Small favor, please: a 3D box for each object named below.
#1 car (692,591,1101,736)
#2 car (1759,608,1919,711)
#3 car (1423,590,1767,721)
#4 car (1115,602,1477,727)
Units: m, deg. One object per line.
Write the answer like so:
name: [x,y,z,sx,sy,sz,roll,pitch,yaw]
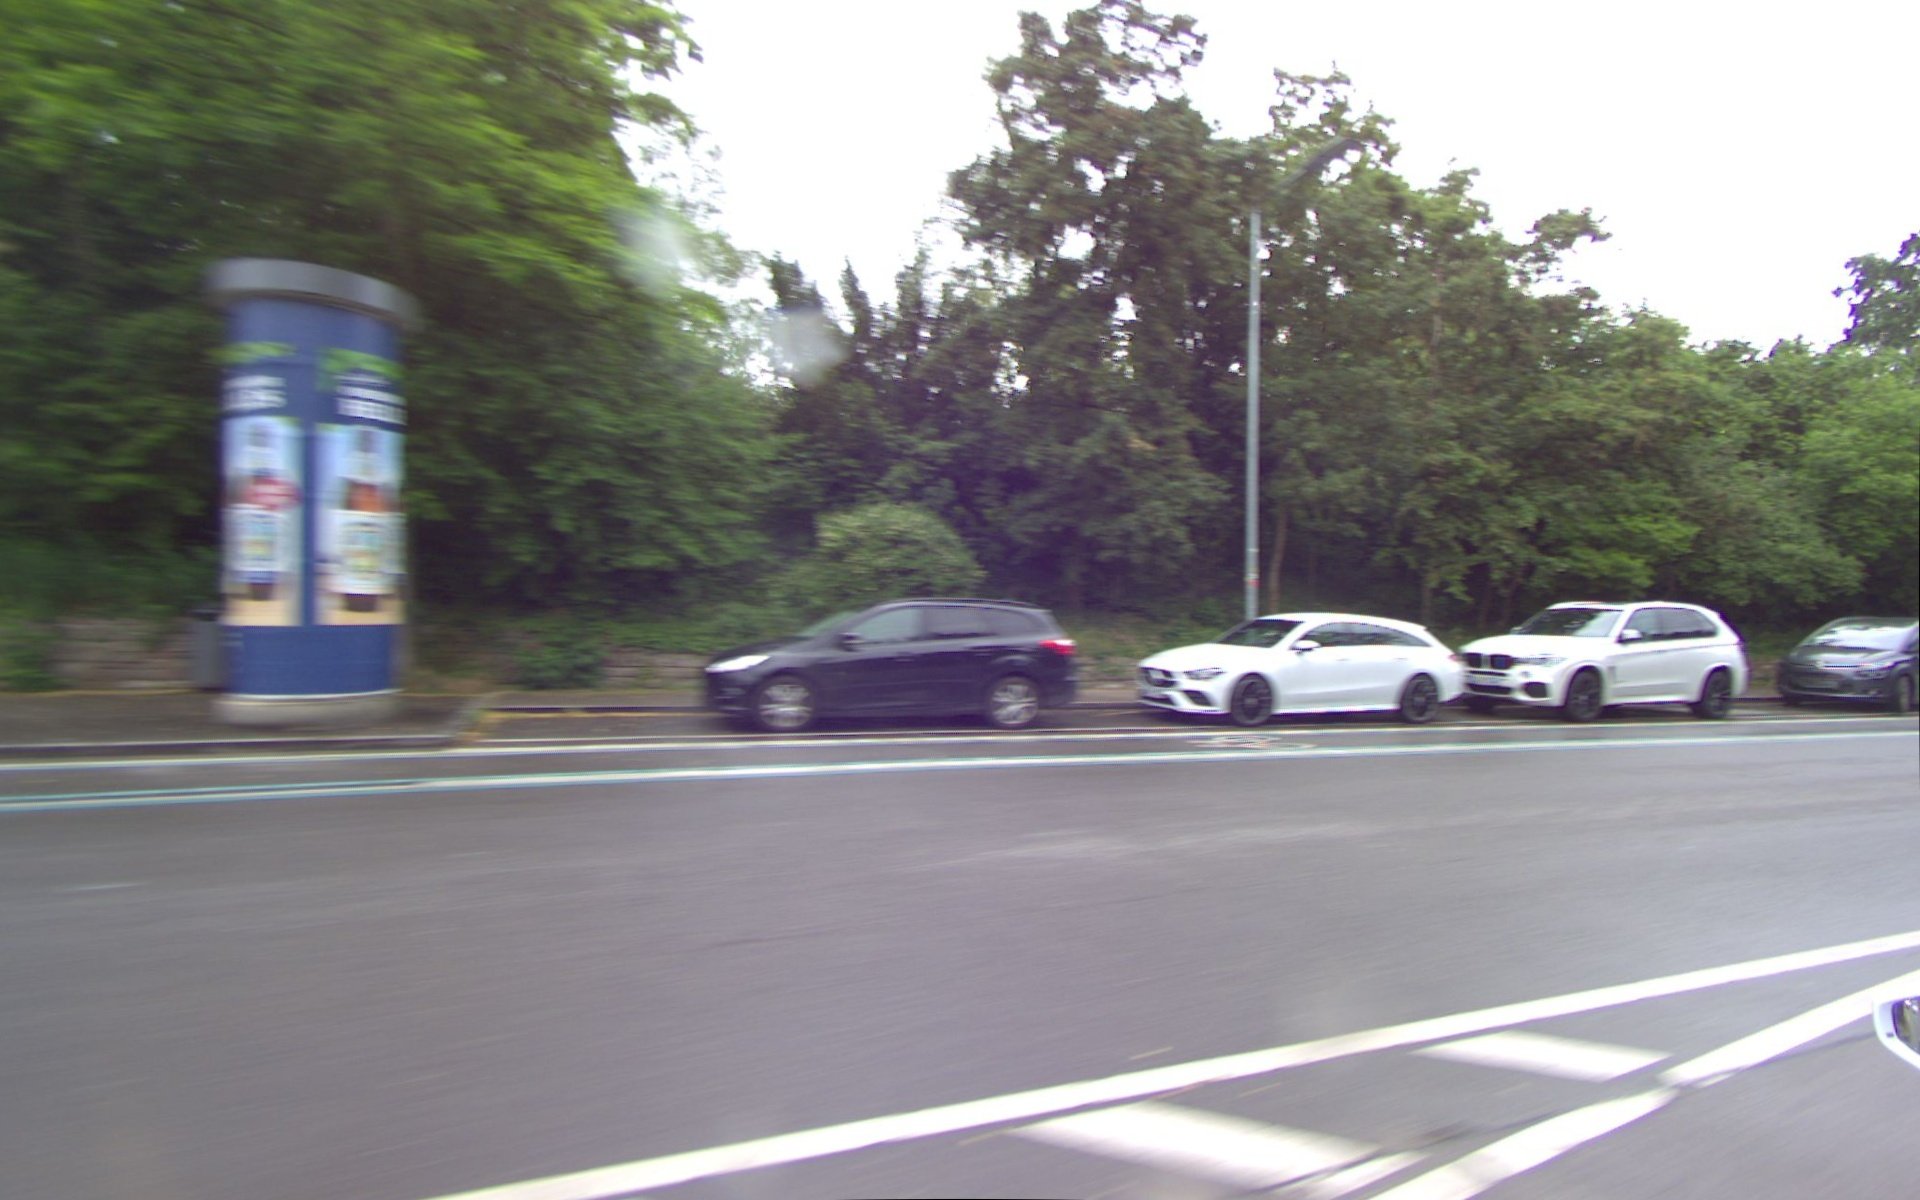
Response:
car: [-0.774,0.688,11.854,4.514,1.464,1.747,1,1,-18]
car: [17.050,1.038,18.493,4.507,1.671,1.727,1,1,-24]
car: [9.868,0.815,15.629,4.886,1.789,1.990,1,0,-21]
car: [4.593,0.816,13.711,4.637,1.480,1.716,1,0,-21]
